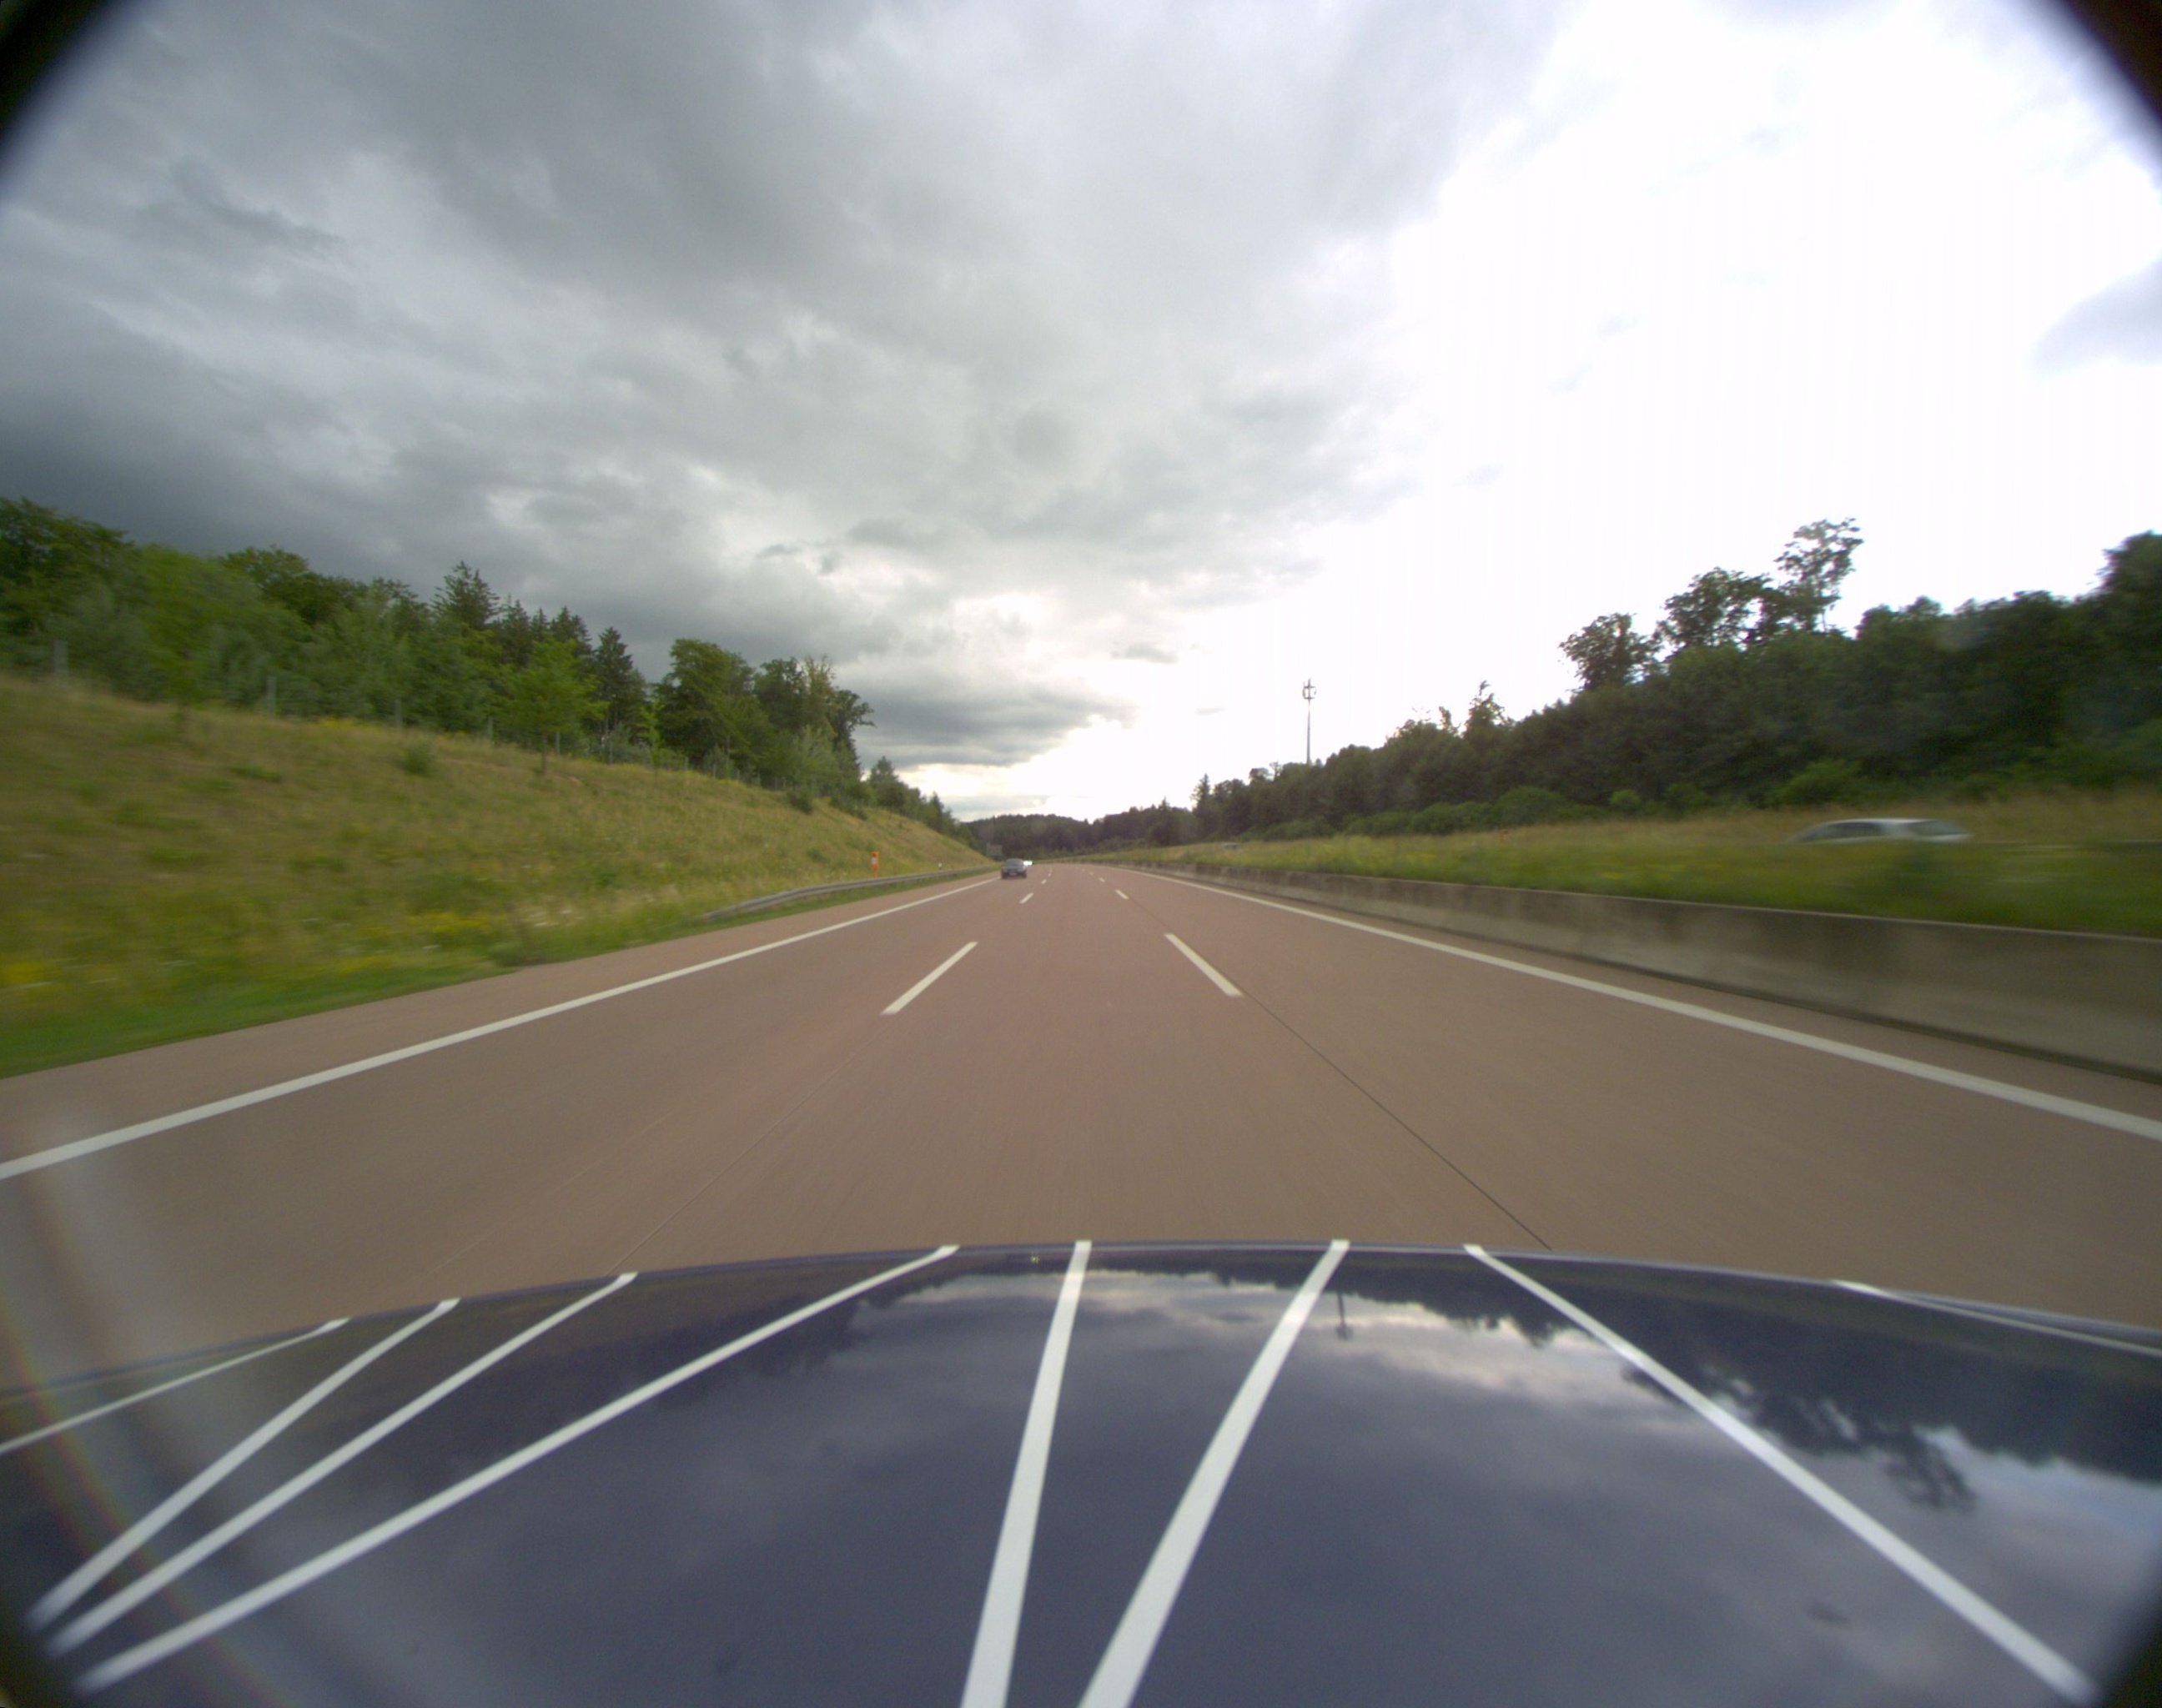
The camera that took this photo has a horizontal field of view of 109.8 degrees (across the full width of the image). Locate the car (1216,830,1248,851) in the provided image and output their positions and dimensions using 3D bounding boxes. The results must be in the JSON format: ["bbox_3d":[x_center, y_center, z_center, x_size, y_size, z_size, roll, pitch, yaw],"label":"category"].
[{"bbox_3d":[14.061,-1.318,71.014,1.880,1.807,5.223,-2,2,-1],"label":"car"}]

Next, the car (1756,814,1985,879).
[{"bbox_3d":[21.261,-0.237,20.773,1.736,1.516,4.411,-2,2,1],"label":"car"}]

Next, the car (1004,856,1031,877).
[{"bbox_3d":[-4.669,0.875,56.370,1.676,1.395,4.232,-1,1,0],"label":"car"}]
